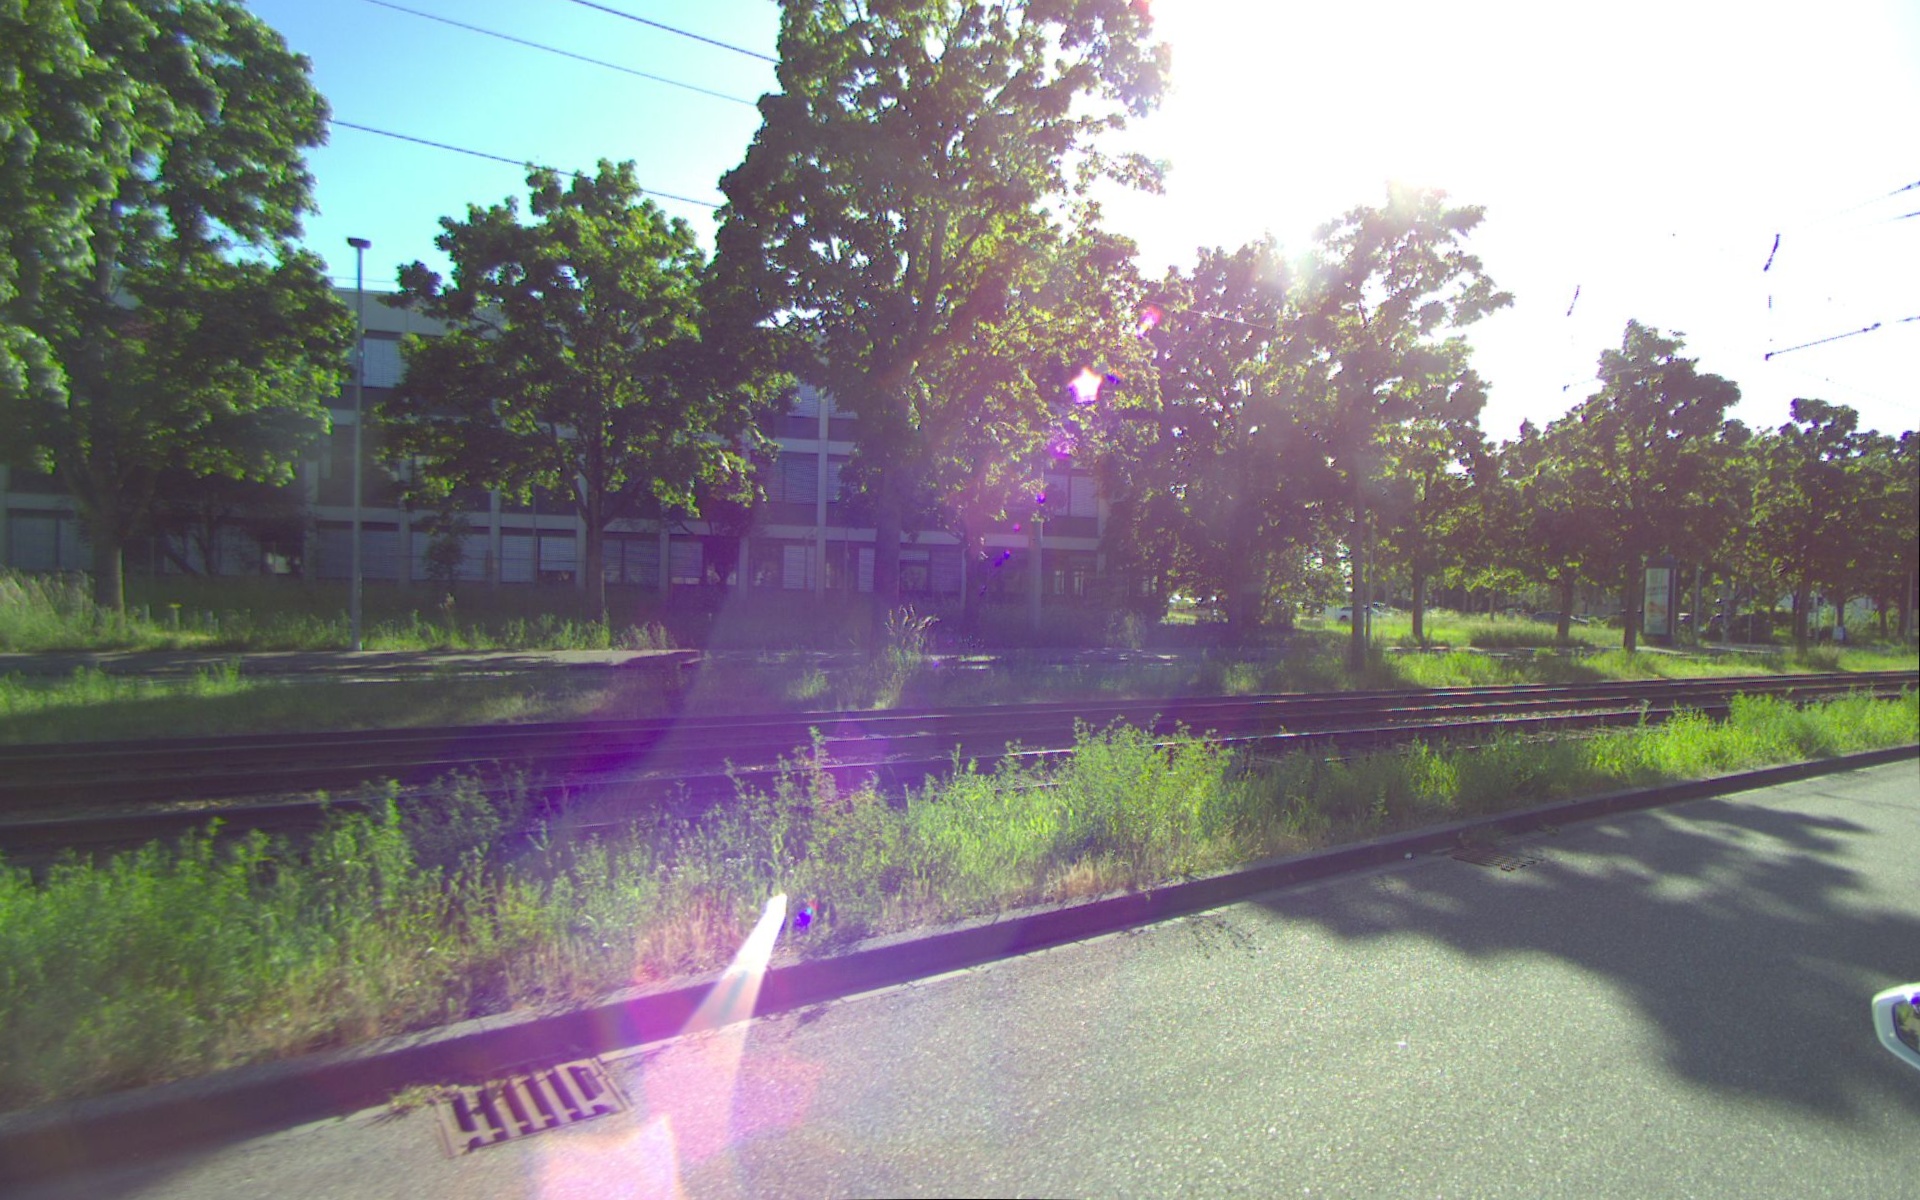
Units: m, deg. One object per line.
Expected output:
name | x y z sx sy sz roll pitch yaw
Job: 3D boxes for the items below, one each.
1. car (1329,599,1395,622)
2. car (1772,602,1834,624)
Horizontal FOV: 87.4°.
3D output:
car | 31.114 0.777 77.742 4.362 1.662 1.982 2 0 38
car | 89.250 1.366 106.416 1.999 2.119 4.694 1 0 -33
